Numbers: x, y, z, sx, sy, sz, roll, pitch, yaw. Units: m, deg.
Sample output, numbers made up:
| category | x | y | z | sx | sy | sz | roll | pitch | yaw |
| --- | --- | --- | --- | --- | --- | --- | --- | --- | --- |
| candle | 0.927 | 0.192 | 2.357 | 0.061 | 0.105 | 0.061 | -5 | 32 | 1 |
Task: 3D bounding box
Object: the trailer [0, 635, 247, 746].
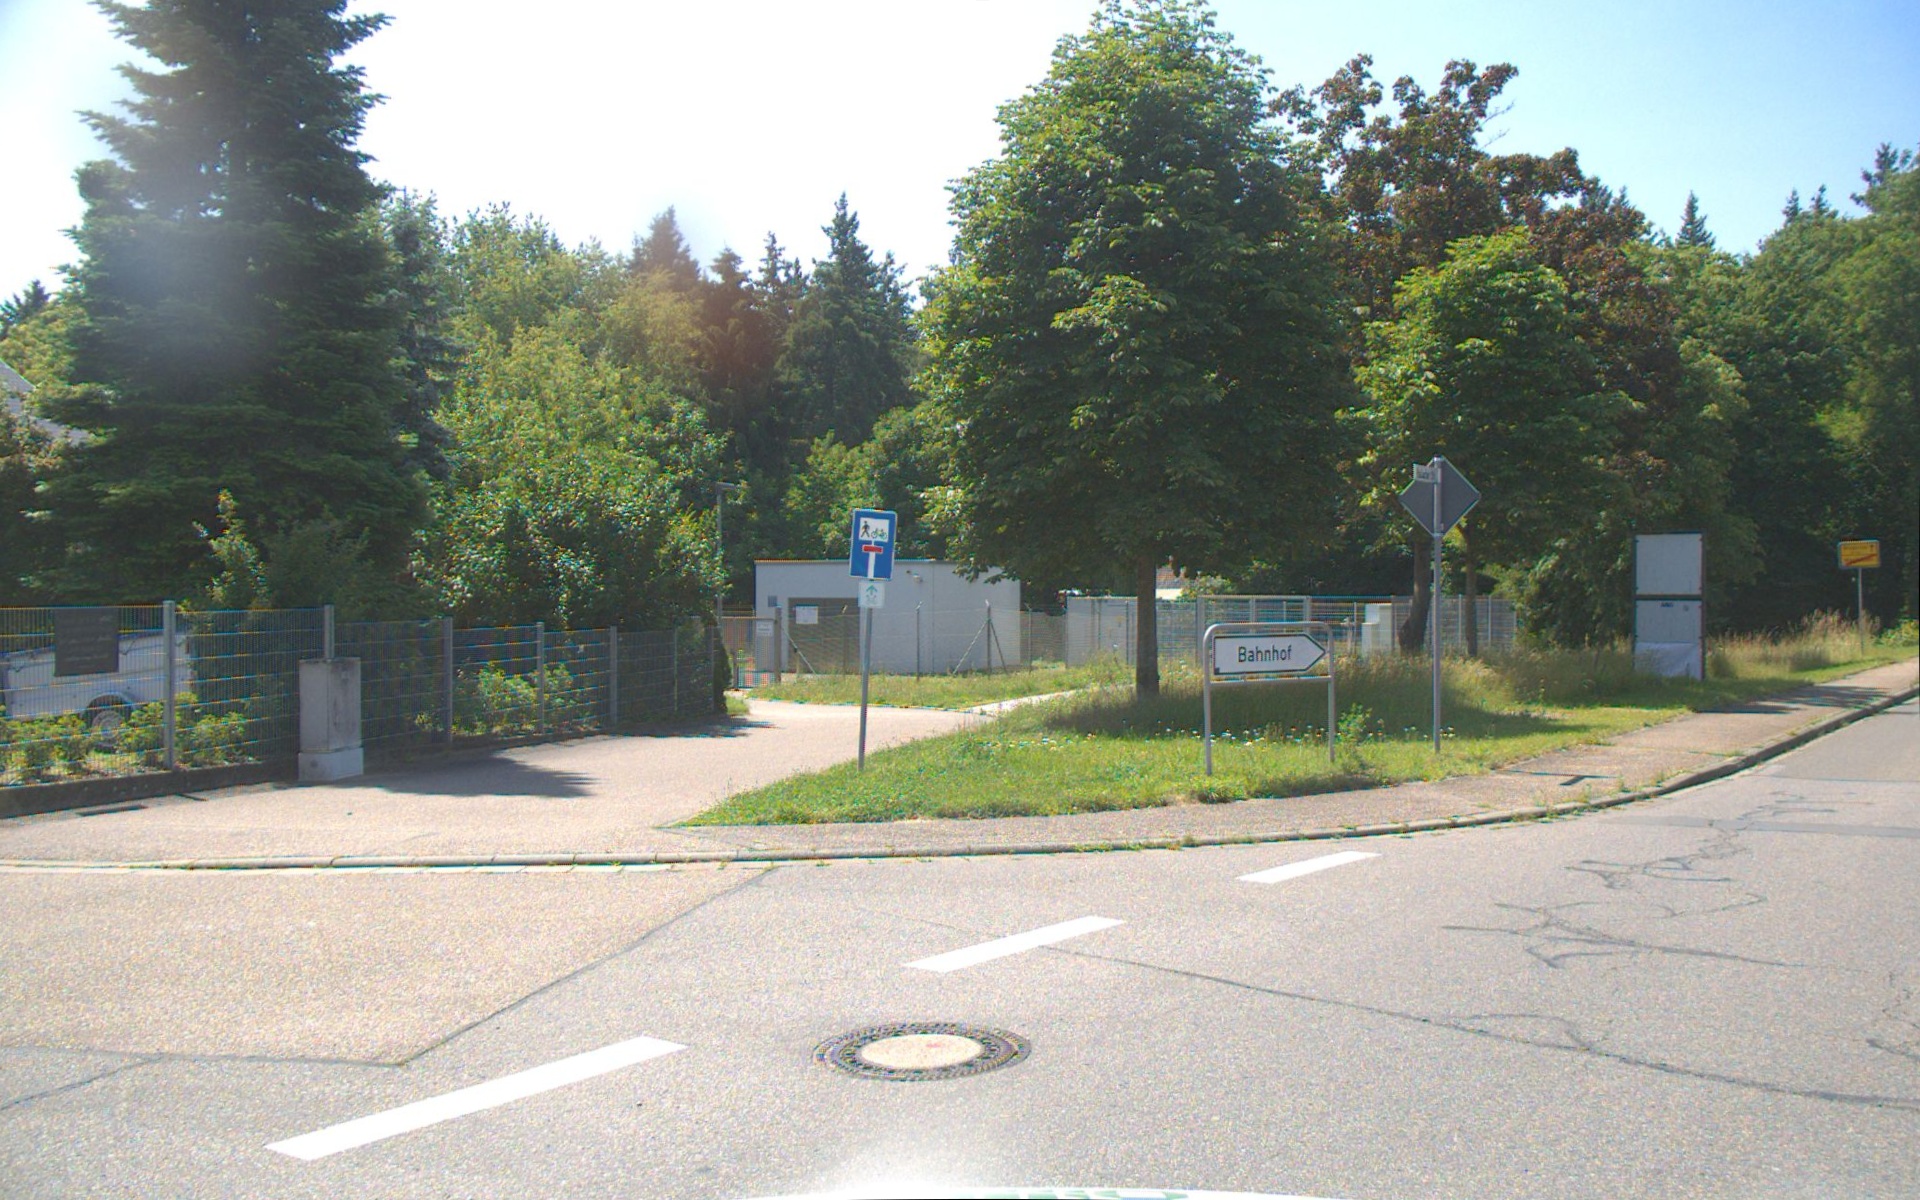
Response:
| category | x | y | z | sx | sy | sz | roll | pitch | yaw |
| --- | --- | --- | --- | --- | --- | --- | --- | --- | --- |
| trailer | -8.869 | 0.937 | 17.486 | 2.169 | 1.103 | 1.107 | 0 | 0 | 2 |
